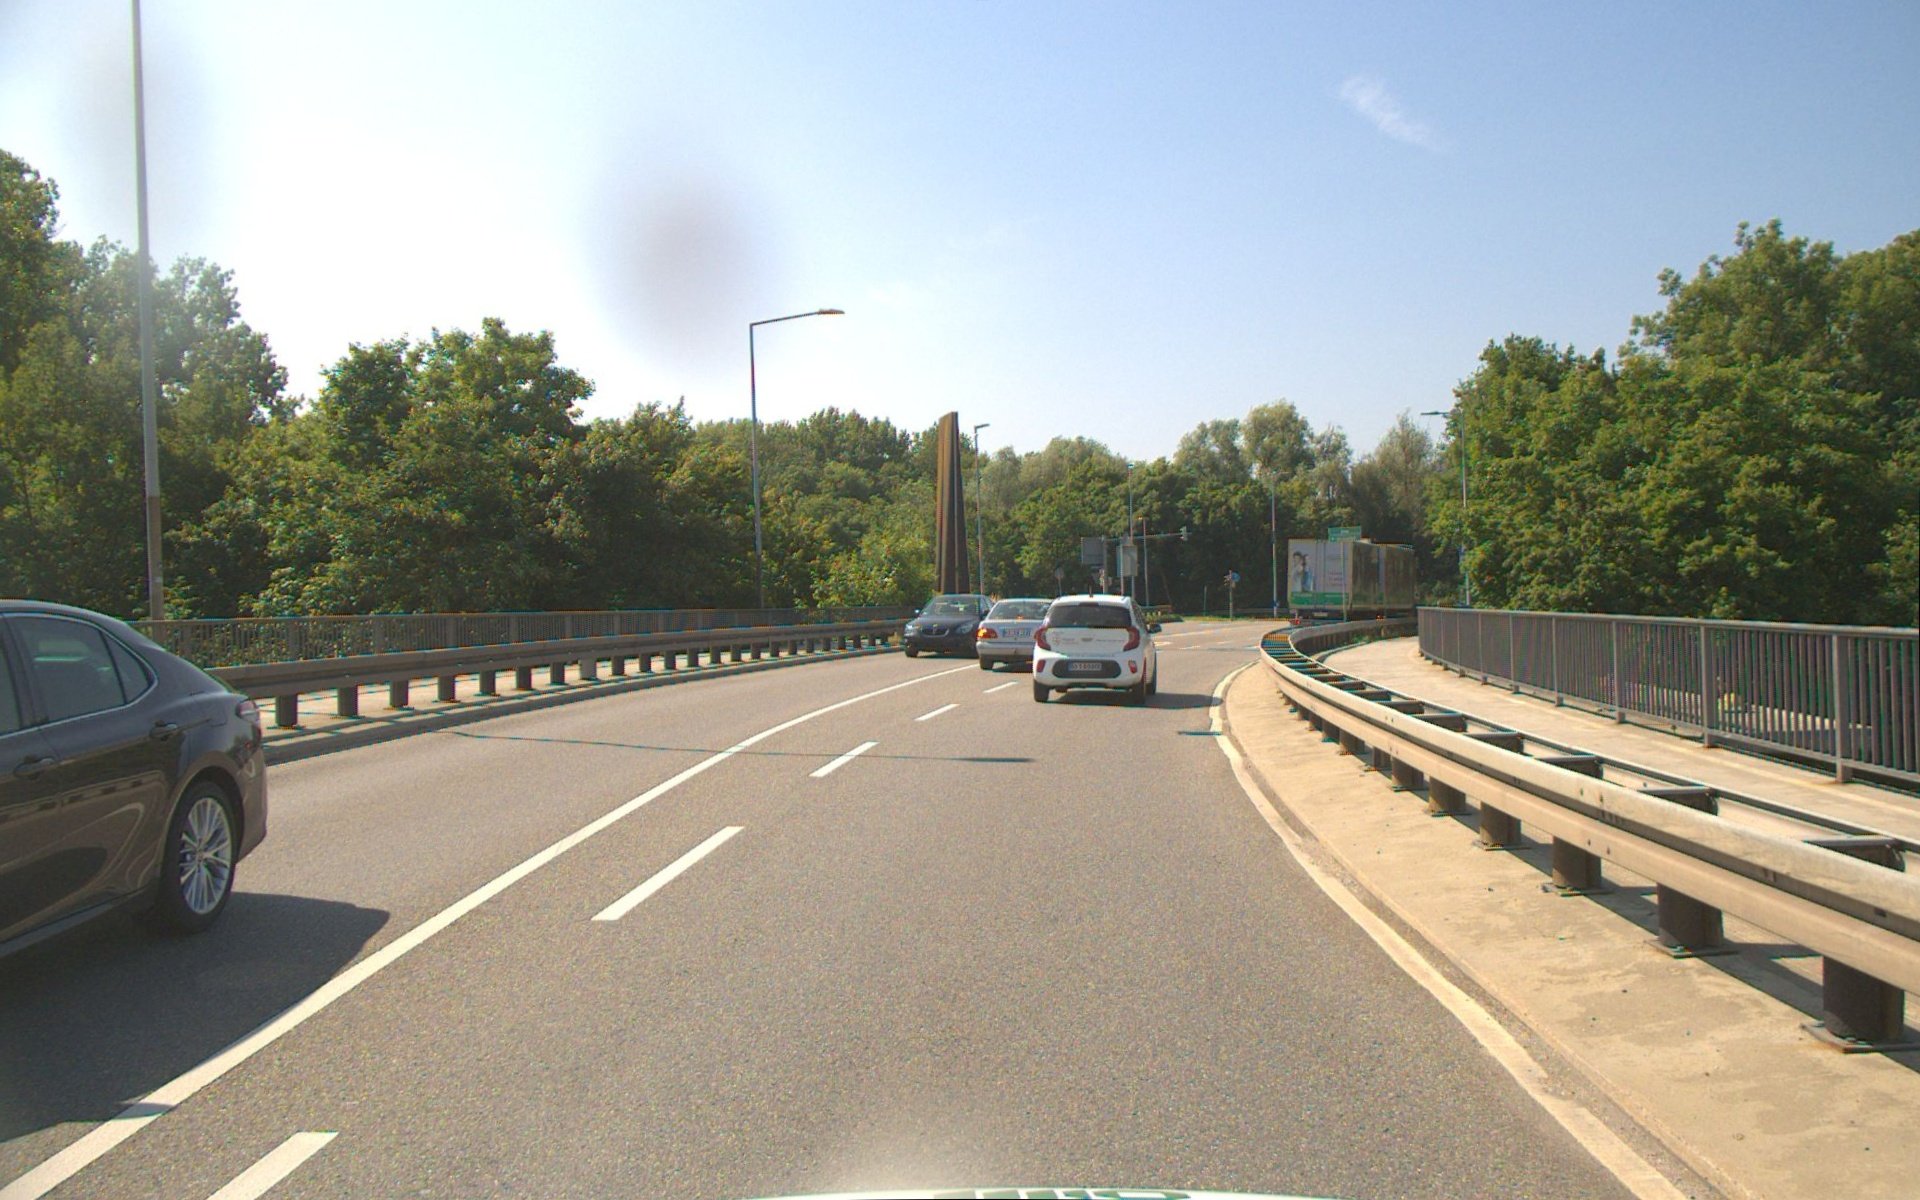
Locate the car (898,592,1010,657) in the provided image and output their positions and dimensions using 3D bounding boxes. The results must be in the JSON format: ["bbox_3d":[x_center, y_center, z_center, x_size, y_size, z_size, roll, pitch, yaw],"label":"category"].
[{"bbox_3d":[-0.067,0.553,40.437,1.816,1.467,4.519,0,1,12],"label":"car"}]

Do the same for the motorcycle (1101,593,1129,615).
[{"bbox_3d":[11.100,0.317,118.658,0.892,1.556,1.952,1,-1,-42],"label":"motorcycle"}]

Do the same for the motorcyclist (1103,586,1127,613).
[{"bbox_3d":[11.122,-0.042,118.671,0.885,1.903,1.441,1,-2,-42],"label":"motorcyclist"}]

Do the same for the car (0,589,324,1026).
[{"bbox_3d":[-4.108,0.709,5.847,1.781,1.455,4.864,-1,1,0],"label":"car"}]

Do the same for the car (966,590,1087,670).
[{"bbox_3d":[1.453,0.563,34.031,1.897,1.512,4.904,0,0,9],"label":"car"}]

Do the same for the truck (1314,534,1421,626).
[{"bbox_3d":[18.404,-0.875,74.273,3.195,3.823,8.367,2,1,24],"label":"truck"}]

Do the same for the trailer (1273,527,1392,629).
[{"bbox_3d":[15.179,-0.872,66.920,3.160,3.823,7.821,2,1,24],"label":"trailer"}]

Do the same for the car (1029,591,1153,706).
[{"bbox_3d":[1.994,0.665,24.601,1.665,1.520,4.003,1,0,6],"label":"car"}]
